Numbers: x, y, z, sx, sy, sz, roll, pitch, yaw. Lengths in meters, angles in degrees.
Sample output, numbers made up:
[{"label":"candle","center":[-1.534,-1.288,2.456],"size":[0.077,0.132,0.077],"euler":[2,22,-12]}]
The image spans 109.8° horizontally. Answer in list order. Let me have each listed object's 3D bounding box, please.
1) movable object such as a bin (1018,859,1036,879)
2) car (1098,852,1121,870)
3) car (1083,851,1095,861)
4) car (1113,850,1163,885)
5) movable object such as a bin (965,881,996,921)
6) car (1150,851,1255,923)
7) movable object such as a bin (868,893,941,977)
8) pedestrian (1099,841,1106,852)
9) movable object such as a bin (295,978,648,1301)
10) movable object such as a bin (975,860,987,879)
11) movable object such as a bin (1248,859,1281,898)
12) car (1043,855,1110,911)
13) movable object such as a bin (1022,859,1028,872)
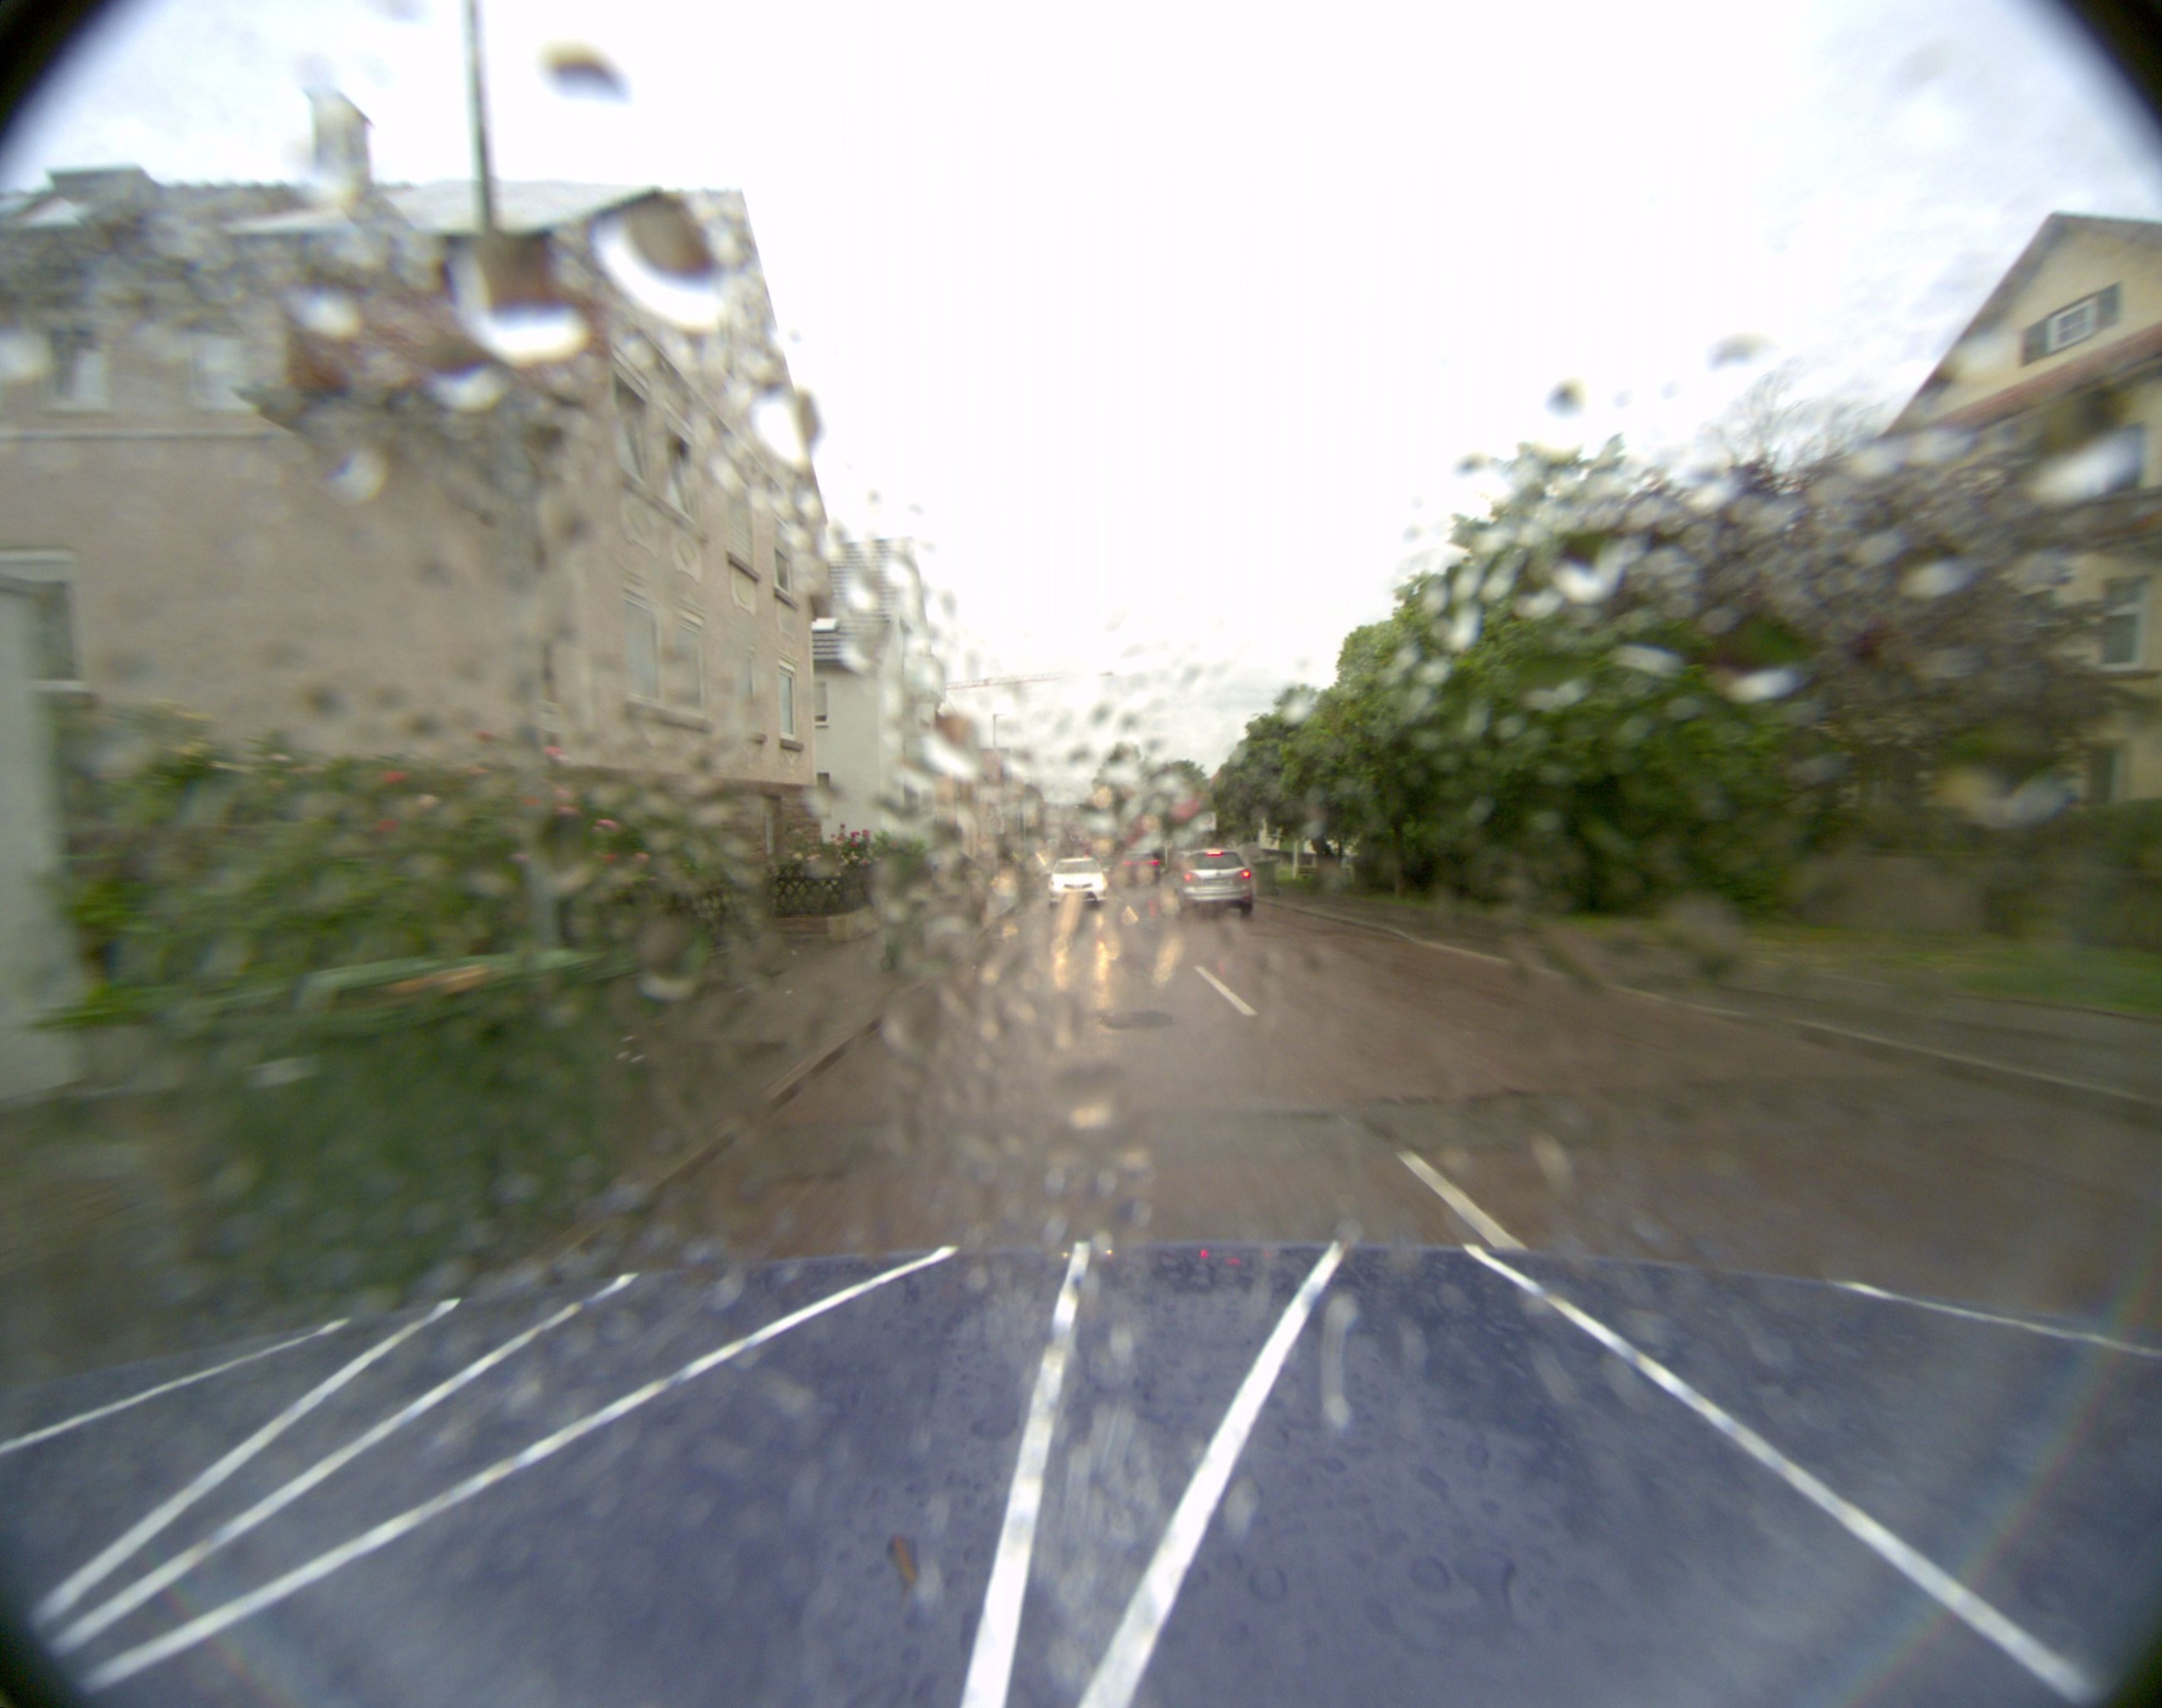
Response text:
[{"label":"movable object such as a bin","center":[-2.994,0.838,42.421],"size":[0.916,1.097,0.702],"euler":[-2,1,1]},{"label":"car","center":[2.406,0.583,64.649],"size":[1.623,1.432,3.736],"euler":[-2,0,-2]},{"label":"car","center":[1.173,0.252,110.653],"size":[1.564,1.446,4.084],"euler":[-2,0,-1]},{"label":"car","center":[2.765,0.619,37.787],"size":[1.923,1.614,4.362],"euler":[-2,0,-2]},{"label":"movable object such as a bin","center":[-2.389,1.108,18.106],"size":[0.632,0.892,0.712],"euler":[-2,1,-1]},{"label":"car","center":[2.892,0.725,18.874],"size":[1.809,1.544,3.828],"euler":[-2,0,-2]},{"label":"movable object such as a bin","center":[-2.457,1.115,10.666],"size":[0.798,1.064,0.761],"euler":[-2,1,1]},{"label":"pedestrian","center":[3.433,-1.205,120.433],"size":[0.971,1.820,0.894],"euler":[-2,1,-9]},{"label":"movable object such as a bin","center":[-2.485,1.129,3.209],"size":[0.837,1.054,0.750],"euler":[-2,1,0]},{"label":"movable object such as a bin","center":[-6.048,0.925,45.909],"size":[0.662,1.087,0.655],"euler":[2,1,-3]},{"label":"movable object such as a bin","center":[5.421,0.716,22.469],"size":[0.722,1.093,0.757],"euler":[-3,1,-1]},{"label":"car","center":[-0.122,0.839,23.948],"size":[1.859,1.427,4.016],"euler":[-3,1,0]},{"label":"movable object such as a bin","center":[-4.433,0.875,59.810],"size":[0.381,1.012,0.487],"euler":[-2,1,-1]}]
